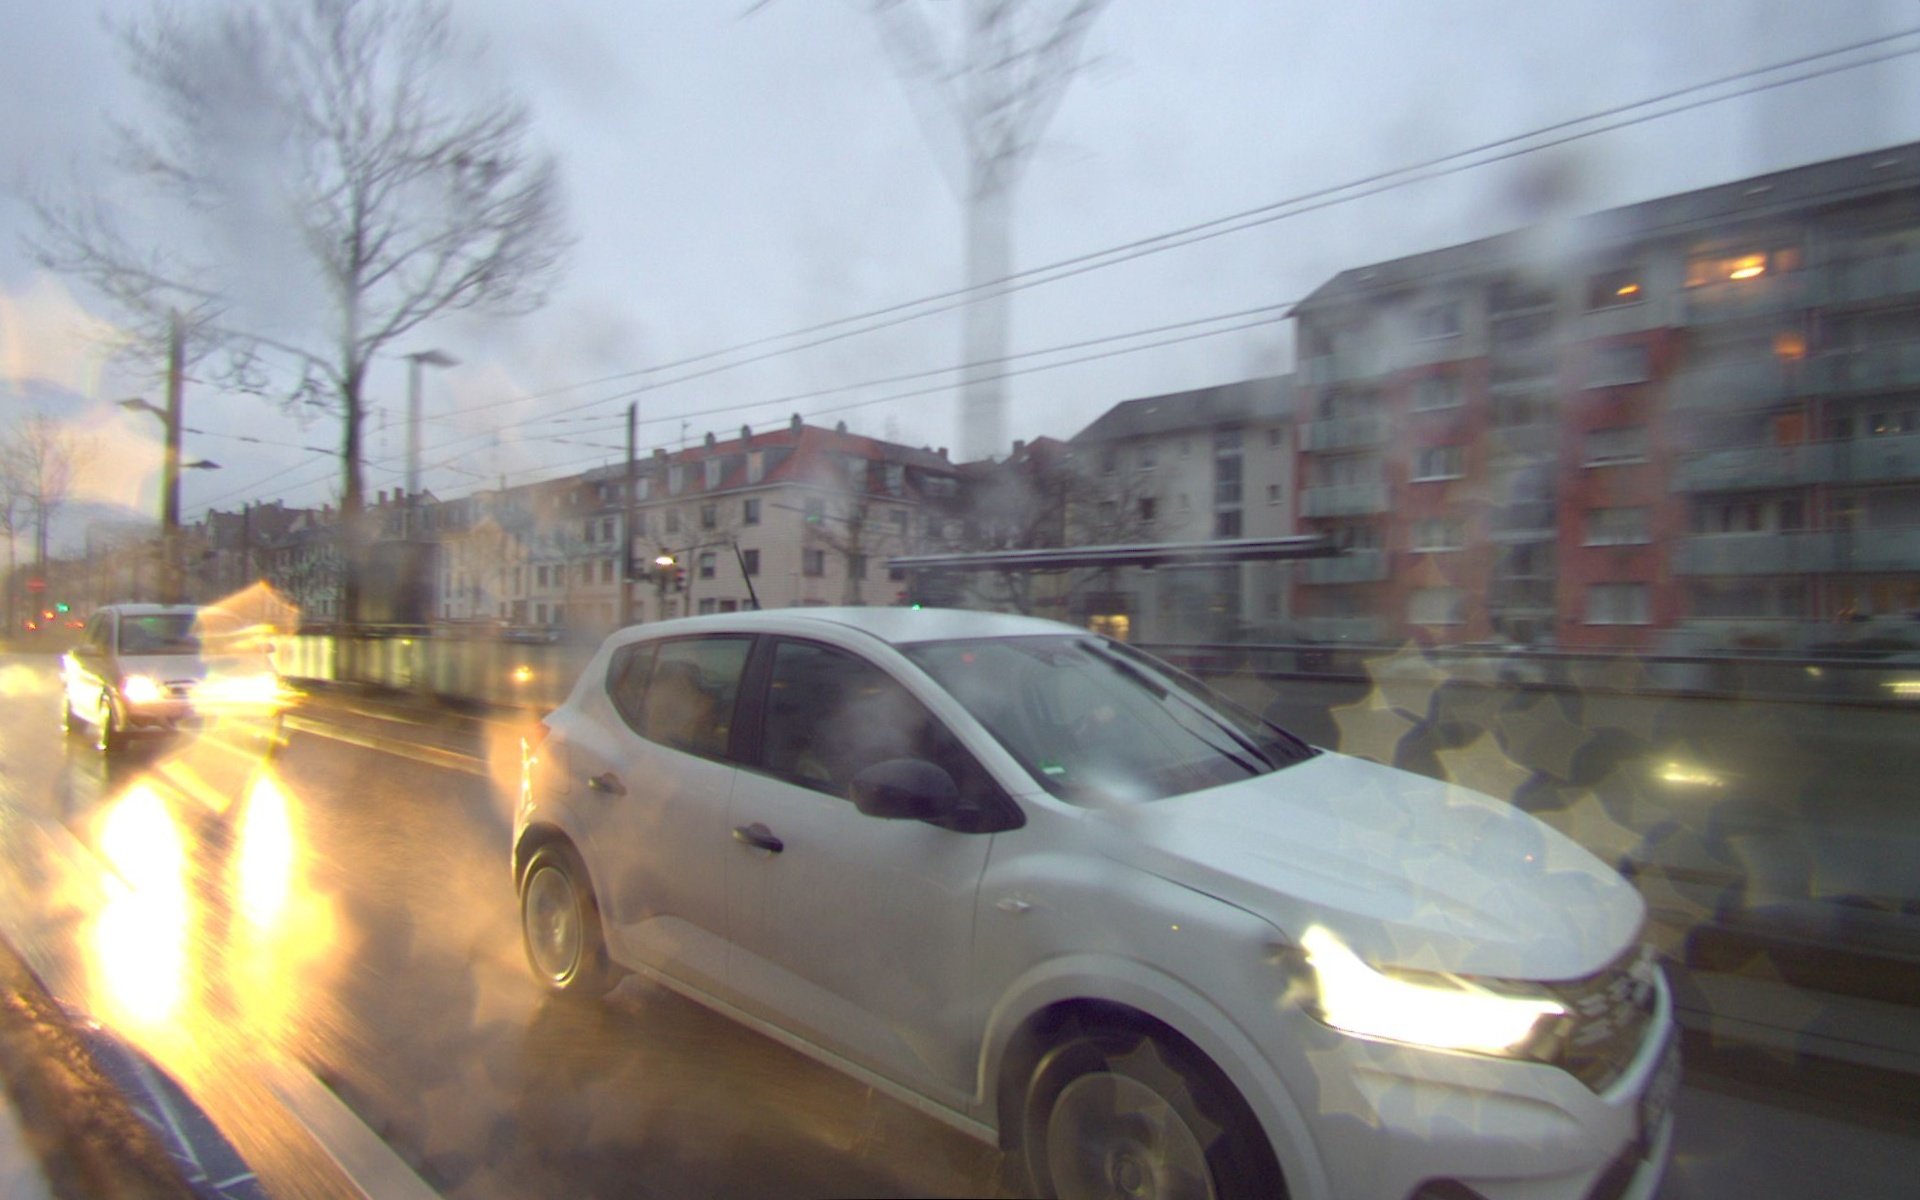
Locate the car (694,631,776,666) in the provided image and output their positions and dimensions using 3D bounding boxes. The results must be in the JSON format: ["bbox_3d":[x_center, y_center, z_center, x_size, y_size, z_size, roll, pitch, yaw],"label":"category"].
[{"bbox_3d":[-10.108,2.135,45.347,3.998,1.378,1.500,0,0,41],"label":"car"}]

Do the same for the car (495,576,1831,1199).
[{"bbox_3d":[0.154,0.708,3.294,4.001,1.477,1.689,0,0,44],"label":"car"}]

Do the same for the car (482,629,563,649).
[{"bbox_3d":[-26.176,2.323,60.625,4.331,1.140,1.251,1,0,-15],"label":"car"}]

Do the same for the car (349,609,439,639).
[{"bbox_3d":[-43.959,1.838,78.723,5.809,2.271,1.827,0,0,-15],"label":"car"}]

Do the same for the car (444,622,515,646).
[{"bbox_3d":[-30.845,2.187,65.062,3.946,1.516,1.317,0,0,-13],"label":"car"}]

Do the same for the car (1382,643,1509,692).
[{"bbox_3d":[13.019,1.785,27.206,1.247,1.109,2.855,0,0,-45],"label":"car"}]

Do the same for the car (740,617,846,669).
[{"bbox_3d":[-5.699,1.421,34.356,3.748,1.651,1.506,0,-1,41],"label":"car"}]

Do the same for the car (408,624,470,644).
[{"bbox_3d":[-35.724,2.332,69.456,3.547,1.395,1.317,0,-2,-17],"label":"car"}]

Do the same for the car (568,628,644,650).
[{"bbox_3d":[-19.770,2.183,56.643,3.933,1.140,1.365,0,0,-13],"label":"car"}]

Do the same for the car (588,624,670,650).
[{"bbox_3d":[-17.059,1.887,52.297,3.932,1.265,1.448,0,0,-15],"label":"car"}]

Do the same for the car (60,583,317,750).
[{"bbox_3d":[-9.521,0.672,12.369,1.993,1.690,4.002,0,0,-45],"label":"car"}]

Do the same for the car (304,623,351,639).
[{"bbox_3d":[-54.560,2.644,87.306,3.151,1.326,1.556,0,0,-18],"label":"car"}]
